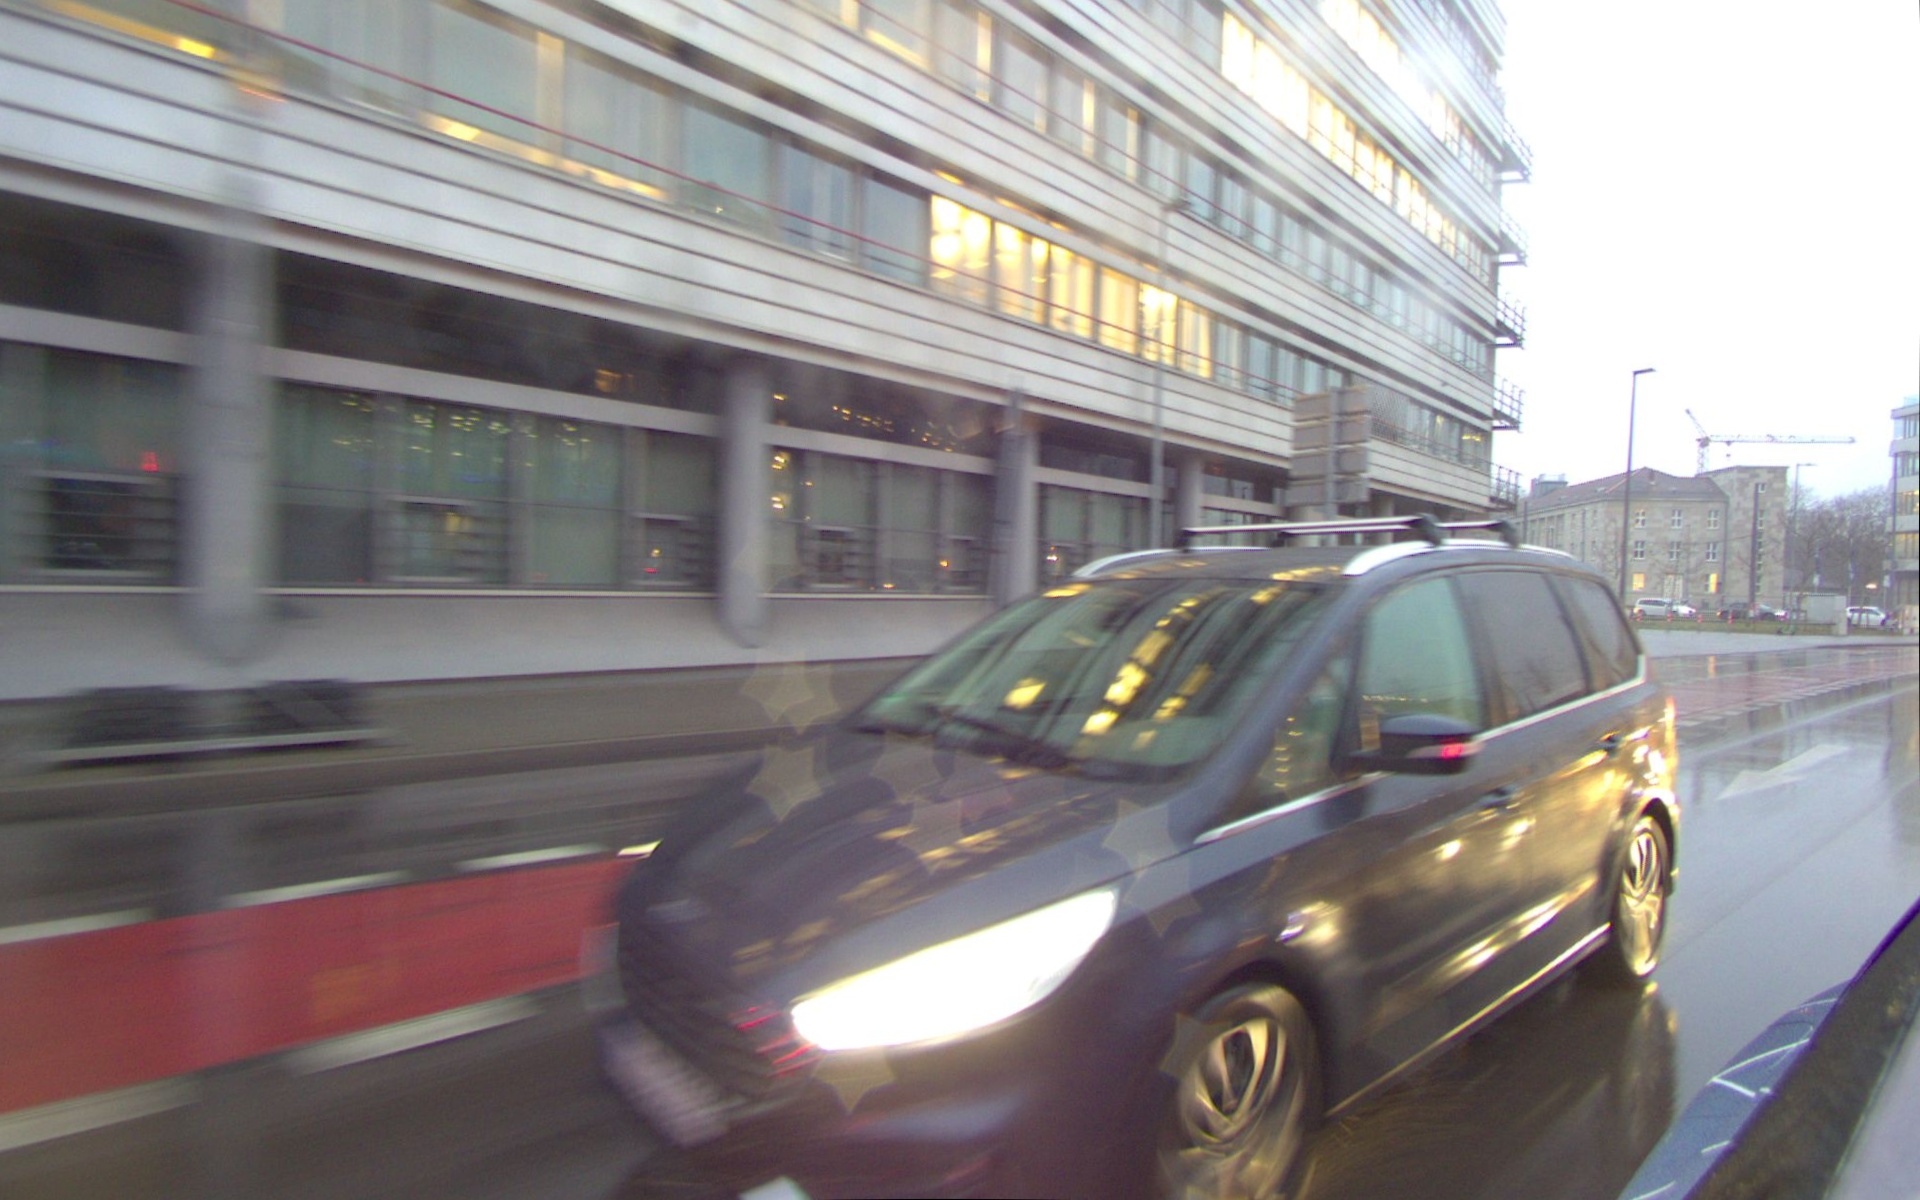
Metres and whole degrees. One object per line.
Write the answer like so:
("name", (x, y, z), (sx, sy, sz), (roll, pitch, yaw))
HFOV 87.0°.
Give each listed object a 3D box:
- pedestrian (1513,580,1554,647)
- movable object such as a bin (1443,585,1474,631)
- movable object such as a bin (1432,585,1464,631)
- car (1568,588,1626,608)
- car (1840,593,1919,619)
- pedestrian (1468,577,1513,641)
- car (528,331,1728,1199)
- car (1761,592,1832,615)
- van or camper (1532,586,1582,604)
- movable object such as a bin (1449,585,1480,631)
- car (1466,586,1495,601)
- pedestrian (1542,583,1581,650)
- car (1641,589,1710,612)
("pedestrian", (15.330, 0.361, 27.058), (0.650, 1.723, 0.870), (5, 3, 44))
("movable object such as a bin", (16.204, 0.260, 32.880), (0.665, 1.446, 0.827), (2, 1, 45))
("movable object such as a bin", (15.559, 0.241, 32.280), (0.665, 1.446, 0.827), (2, 1, 45))
("car", (57.929, -0.159, 92.051), (1.959, 1.693, 4.012), (1, 1, -26))
("car", (66.351, 0.437, 72.971), (1.744, 1.730, 3.932), (1, 1, -28))
("pedestrian", (14.814, 0.242, 28.252), (0.746, 1.722, 0.953), (6, 4, 44))
("car", (1.090, 0.514, 3.729), (4.589, 1.834, 1.886), (0, 0, -41))
("car", (63.951, 0.240, 77.405), (1.743, 1.556, 3.774), (1, 2, -25))
("van or camper", (65.212, -0.533, 110.585), (1.958, 1.874, 4.384), (1, -2, -21))
("movable object such as a bin", (16.761, 0.261, 33.628), (0.665, 1.495, 0.827), (2, 1, 45))
("car", (63.150, -0.764, 122.795), (1.568, 1.702, 3.272), (1, 1, -6))
("pedestrian", (15.788, 0.425, 26.574), (0.615, 1.689, 0.870), (4, 3, 44))
("car", (60.532, 0.008, 85.675), (1.959, 1.782, 4.385), (1, 1, -26))
